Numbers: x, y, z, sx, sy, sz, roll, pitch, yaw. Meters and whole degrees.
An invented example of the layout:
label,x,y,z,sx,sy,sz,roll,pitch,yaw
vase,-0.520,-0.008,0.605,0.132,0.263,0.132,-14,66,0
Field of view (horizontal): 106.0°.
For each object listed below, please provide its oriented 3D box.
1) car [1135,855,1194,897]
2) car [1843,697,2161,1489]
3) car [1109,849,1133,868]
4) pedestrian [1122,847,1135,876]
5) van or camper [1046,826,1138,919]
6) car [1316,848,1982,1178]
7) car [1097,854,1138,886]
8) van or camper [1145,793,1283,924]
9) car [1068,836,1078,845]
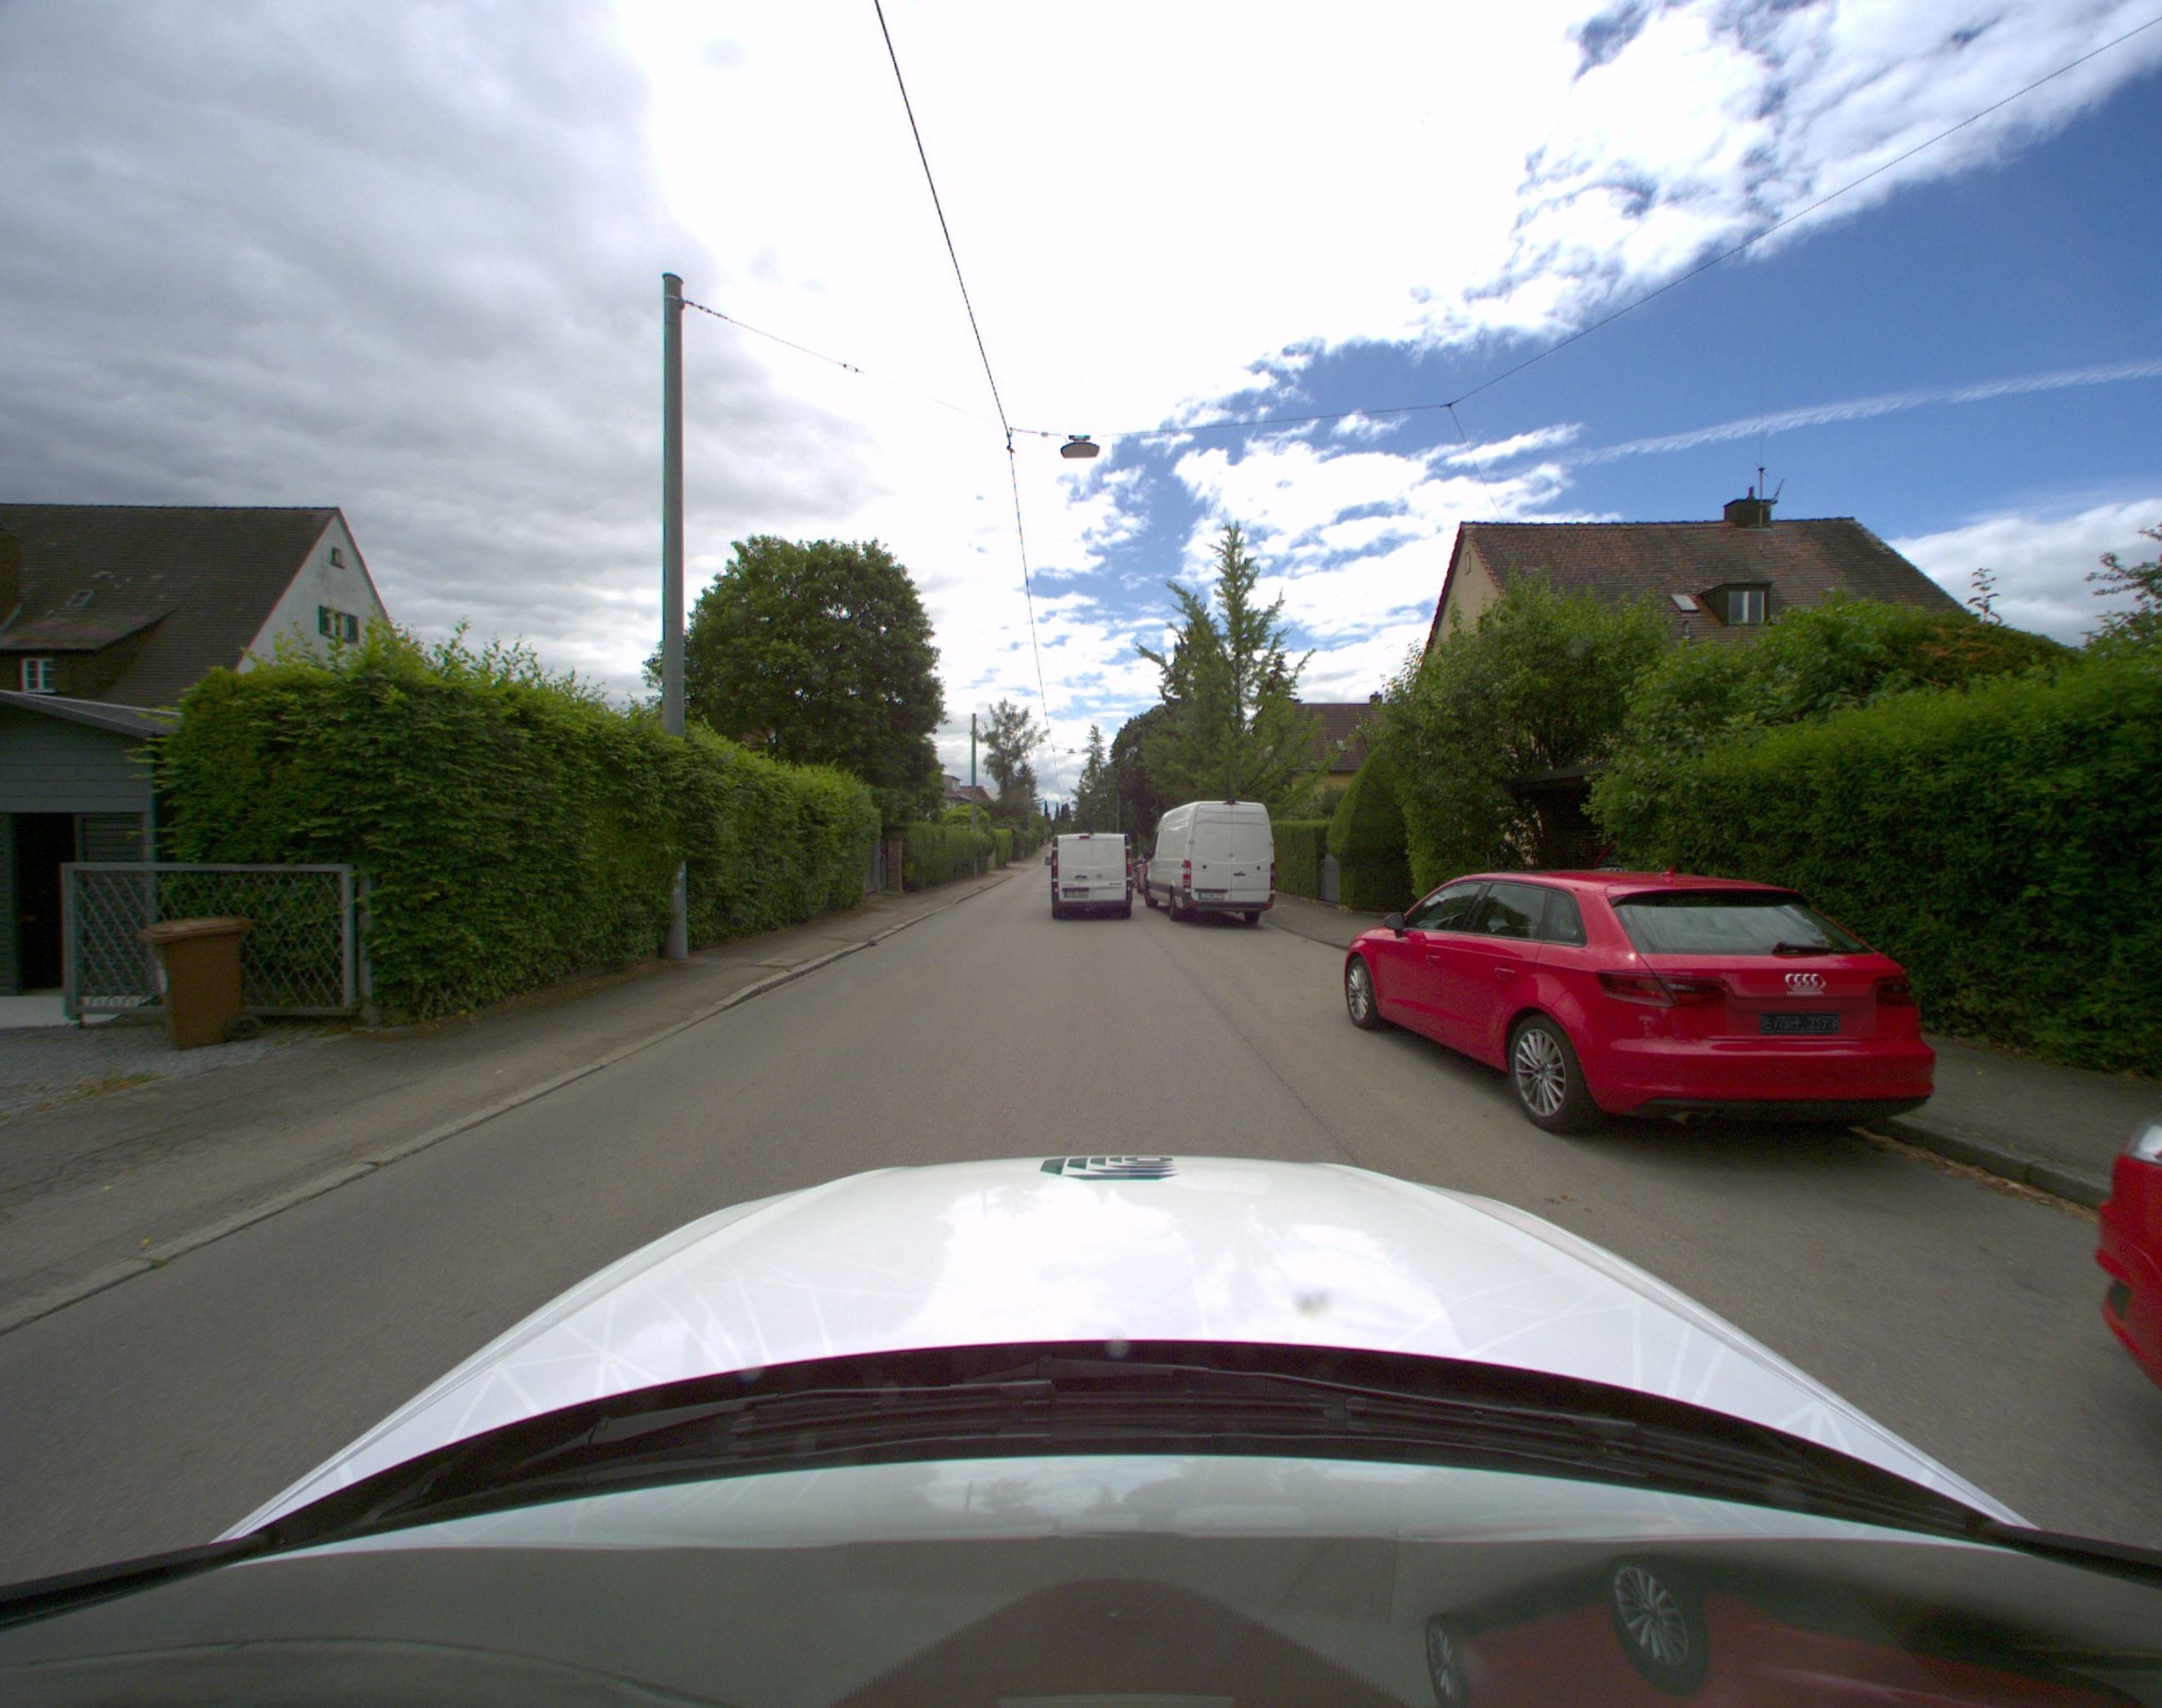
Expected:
label,x,y,z,sx,sy,sz,roll,pitch,yaw
car,2.848,0.714,28.510,1.526,1.304,4.028,0,1,-2
car,3.305,0.558,0.159,1.754,1.797,4.949,0,1,1
car,2.944,0.332,60.438,1.526,1.304,3.225,0,1,-2
pedestrian,2.669,0.422,45.541,0.556,1.559,0.550,-1,2,-14
van or camper,0.140,0.323,20.366,1.920,2.013,4.823,0,2,-4
car,3.270,0.710,5.894,1.709,1.467,4.263,0,1,-3
car,1.595,0.686,36.738,1.526,1.304,4.028,0,1,-2
van or camper,2.968,0.082,19.792,2.062,2.674,6.322,0,0,-3
car,-1.545,-2.582,158.536,1.771,1.651,3.642,-1,2,-2
